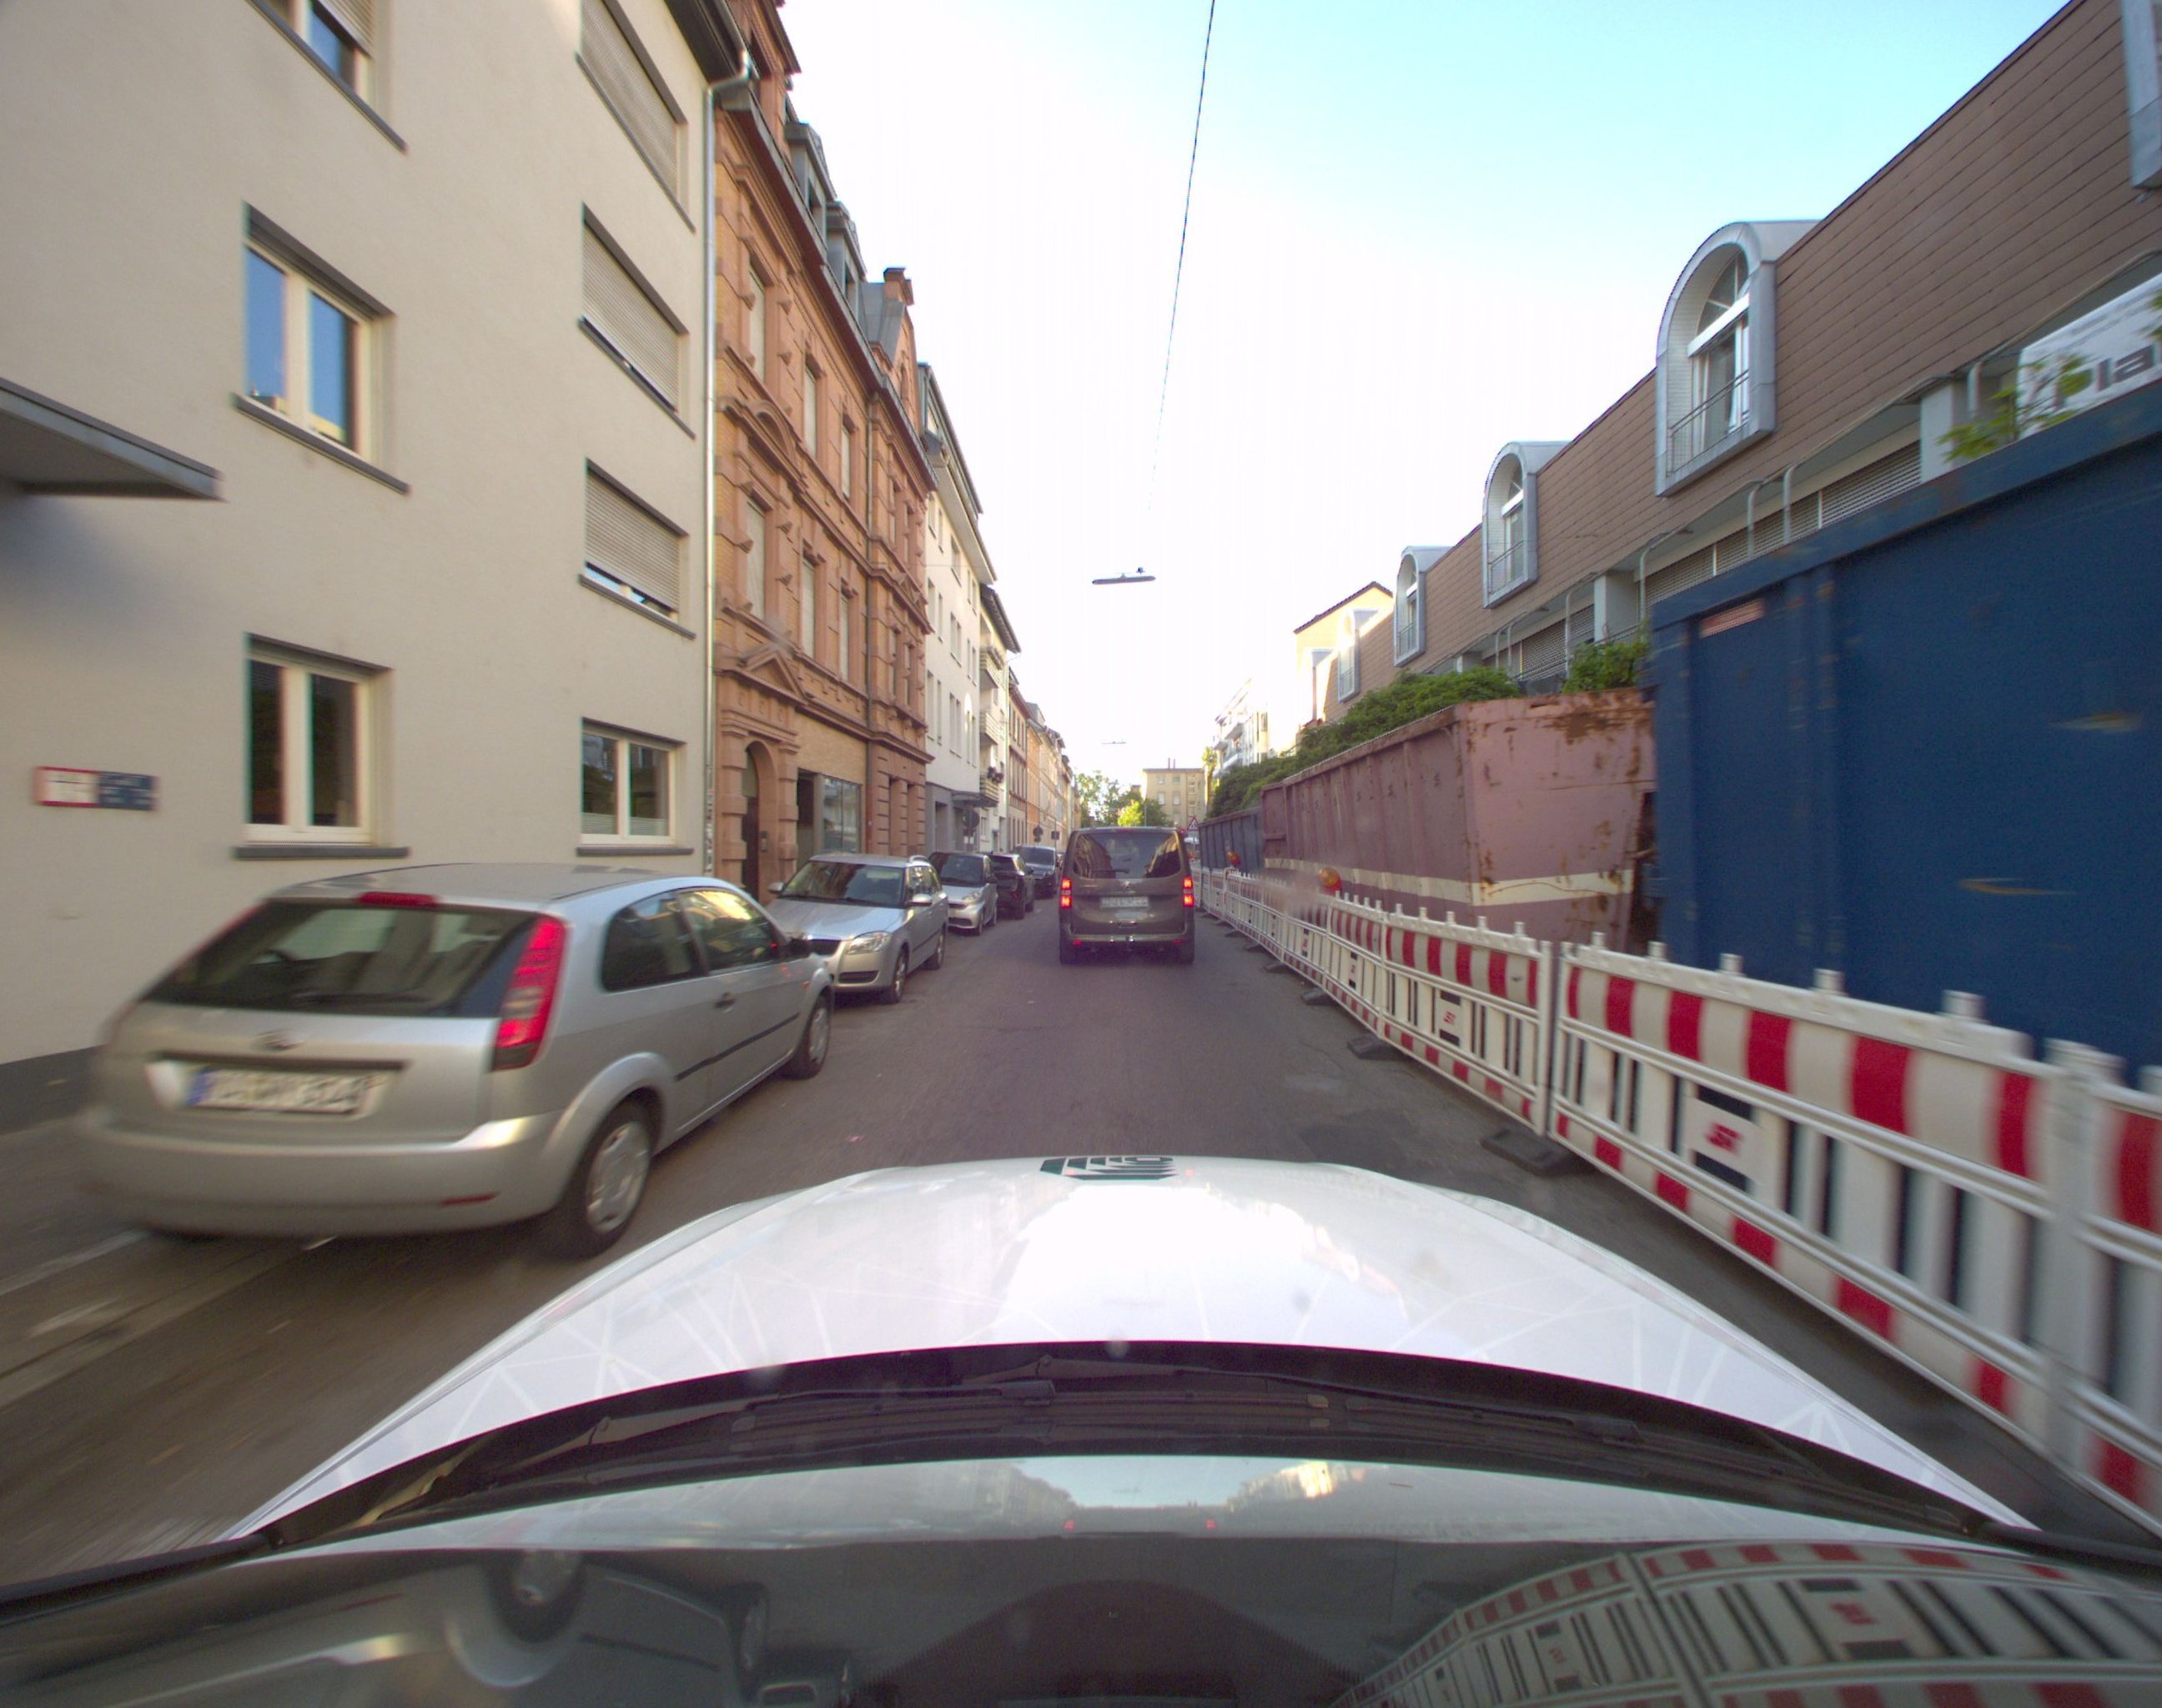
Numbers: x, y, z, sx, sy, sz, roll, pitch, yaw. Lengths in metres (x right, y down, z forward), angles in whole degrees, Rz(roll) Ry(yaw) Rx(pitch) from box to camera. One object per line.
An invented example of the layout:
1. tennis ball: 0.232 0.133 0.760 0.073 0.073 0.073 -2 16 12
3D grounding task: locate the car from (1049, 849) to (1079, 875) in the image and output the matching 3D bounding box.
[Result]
1. car: -1.003 0.472 49.394 1.651 1.448 3.286 3 0 1

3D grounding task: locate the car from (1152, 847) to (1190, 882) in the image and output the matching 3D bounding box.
1. car: 4.678 0.503 42.831 1.741 1.683 4.530 1 0 4

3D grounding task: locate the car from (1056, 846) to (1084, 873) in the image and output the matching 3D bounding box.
1. car: -0.692 0.338 54.582 1.705 1.644 3.980 3 0 1

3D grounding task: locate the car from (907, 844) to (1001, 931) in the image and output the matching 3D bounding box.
1. car: -2.484 0.607 16.467 1.391 1.588 2.794 0 0 1

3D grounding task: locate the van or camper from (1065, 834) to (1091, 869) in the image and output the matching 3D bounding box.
1. van or camper: -0.227 -0.227 65.998 1.943 2.649 7.140 -1 0 0

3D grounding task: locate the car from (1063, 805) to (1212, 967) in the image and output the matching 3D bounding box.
1. car: 0.769 0.391 12.446 1.851 2.013 4.001 -2 0 1

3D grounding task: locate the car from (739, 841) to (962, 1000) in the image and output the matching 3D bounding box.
1. car: -2.554 0.651 9.878 1.550 1.508 3.598 3 0 1

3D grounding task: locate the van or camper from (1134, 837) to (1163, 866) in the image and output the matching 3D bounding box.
1. van or camper: 6.270 -0.238 76.018 2.092 2.602 7.512 -1 0 0

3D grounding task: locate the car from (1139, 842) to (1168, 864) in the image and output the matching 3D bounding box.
1. car: 5.296 -0.080 60.075 1.717 1.612 4.587 0 0 -1

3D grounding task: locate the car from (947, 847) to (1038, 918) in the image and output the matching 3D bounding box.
1. car: -2.111 0.626 20.485 1.734 1.599 4.015 0 0 1

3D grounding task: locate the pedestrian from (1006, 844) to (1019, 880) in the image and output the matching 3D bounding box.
1. pedestrian: -3.180 0.380 37.839 0.493 1.638 0.666 1 0 2

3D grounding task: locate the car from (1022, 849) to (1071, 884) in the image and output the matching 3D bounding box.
1. car: -1.621 0.559 39.019 1.660 1.485 3.612 5 1 7

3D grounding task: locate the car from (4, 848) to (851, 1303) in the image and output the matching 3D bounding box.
1. car: -2.566 0.692 4.357 1.627 1.430 3.555 0 0 0

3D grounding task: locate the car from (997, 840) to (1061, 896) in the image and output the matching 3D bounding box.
1. car: -1.790 0.446 29.601 1.987 1.858 4.585 0 0 0
